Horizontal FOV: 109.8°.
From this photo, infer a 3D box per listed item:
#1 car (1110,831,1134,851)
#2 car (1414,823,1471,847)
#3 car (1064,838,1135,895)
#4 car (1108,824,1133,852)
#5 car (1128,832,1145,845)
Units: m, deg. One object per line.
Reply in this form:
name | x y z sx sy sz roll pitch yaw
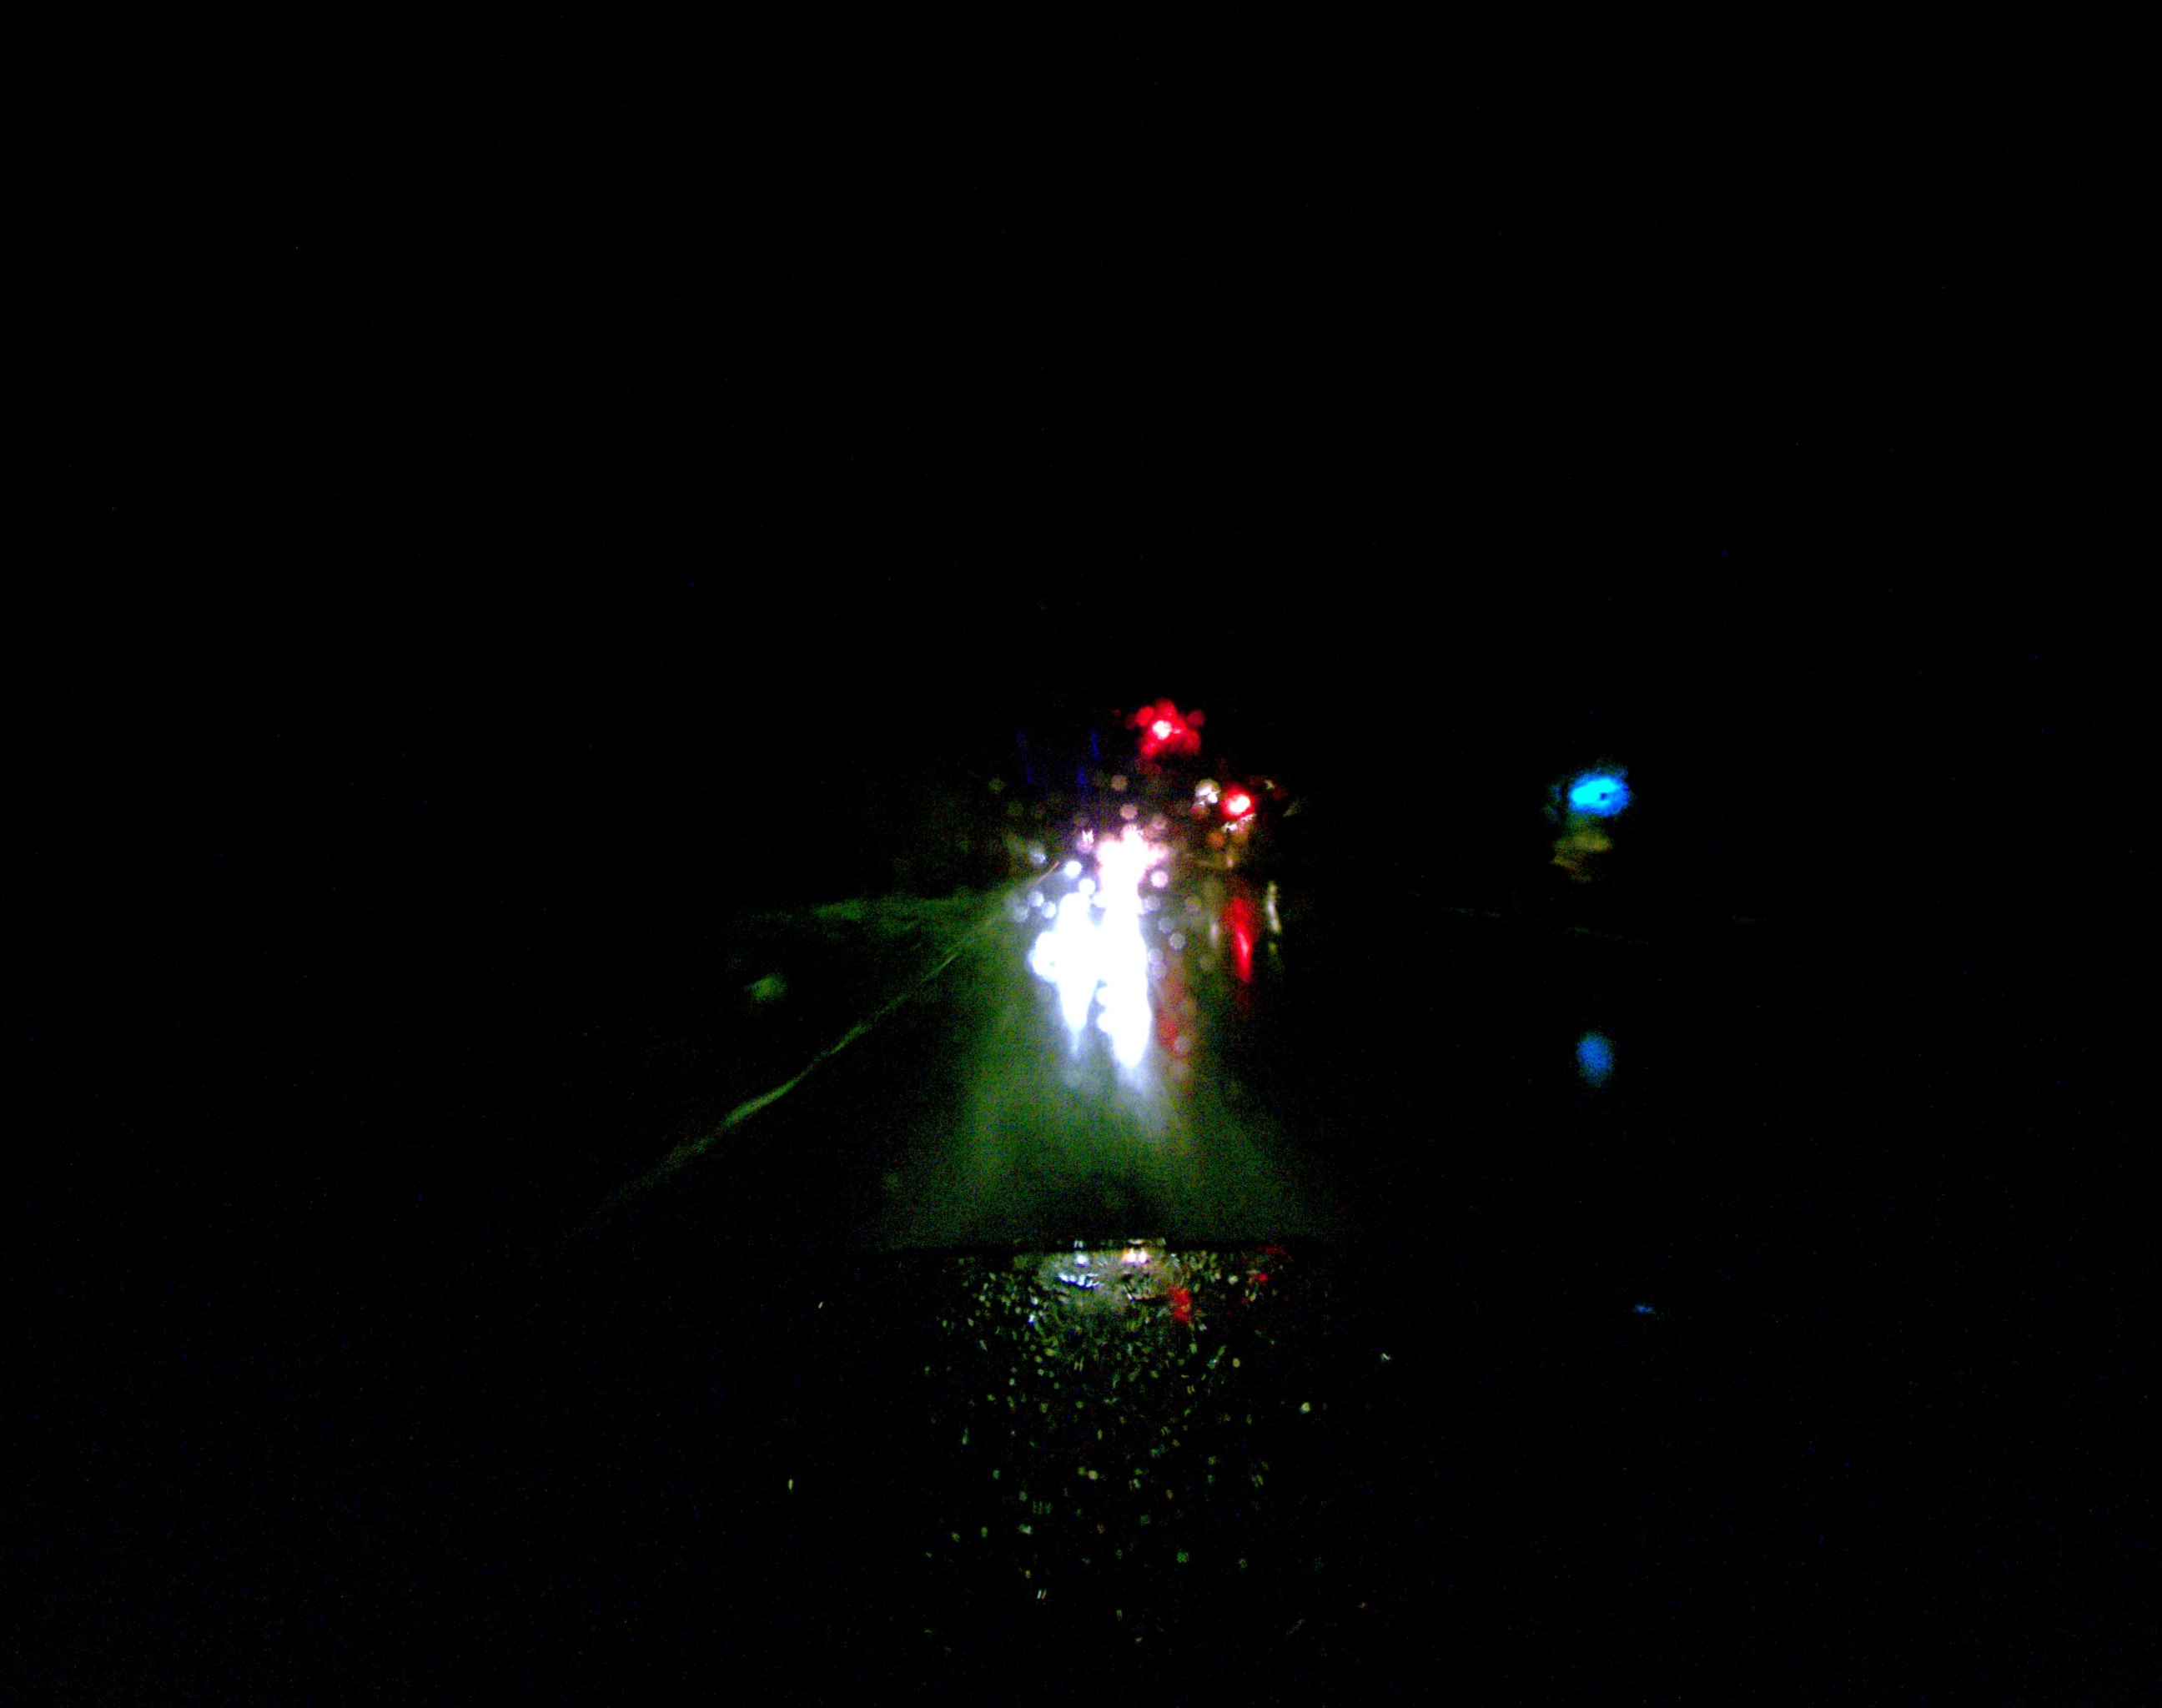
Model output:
car | 3.561 -1.085 66.523 1.979 1.508 4.207 -3 -1 2
car | 25.118 -1.353 52.942 1.937 1.578 4.480 -1 3 2
car | 0.726 0.384 25.864 1.892 1.678 4.341 -3 0 7
car | 3.724 -1.490 72.539 2.173 2.427 4.862 -3 -1 2
car | 7.252 -2.006 99.453 2.062 1.668 4.139 -2 1 1
